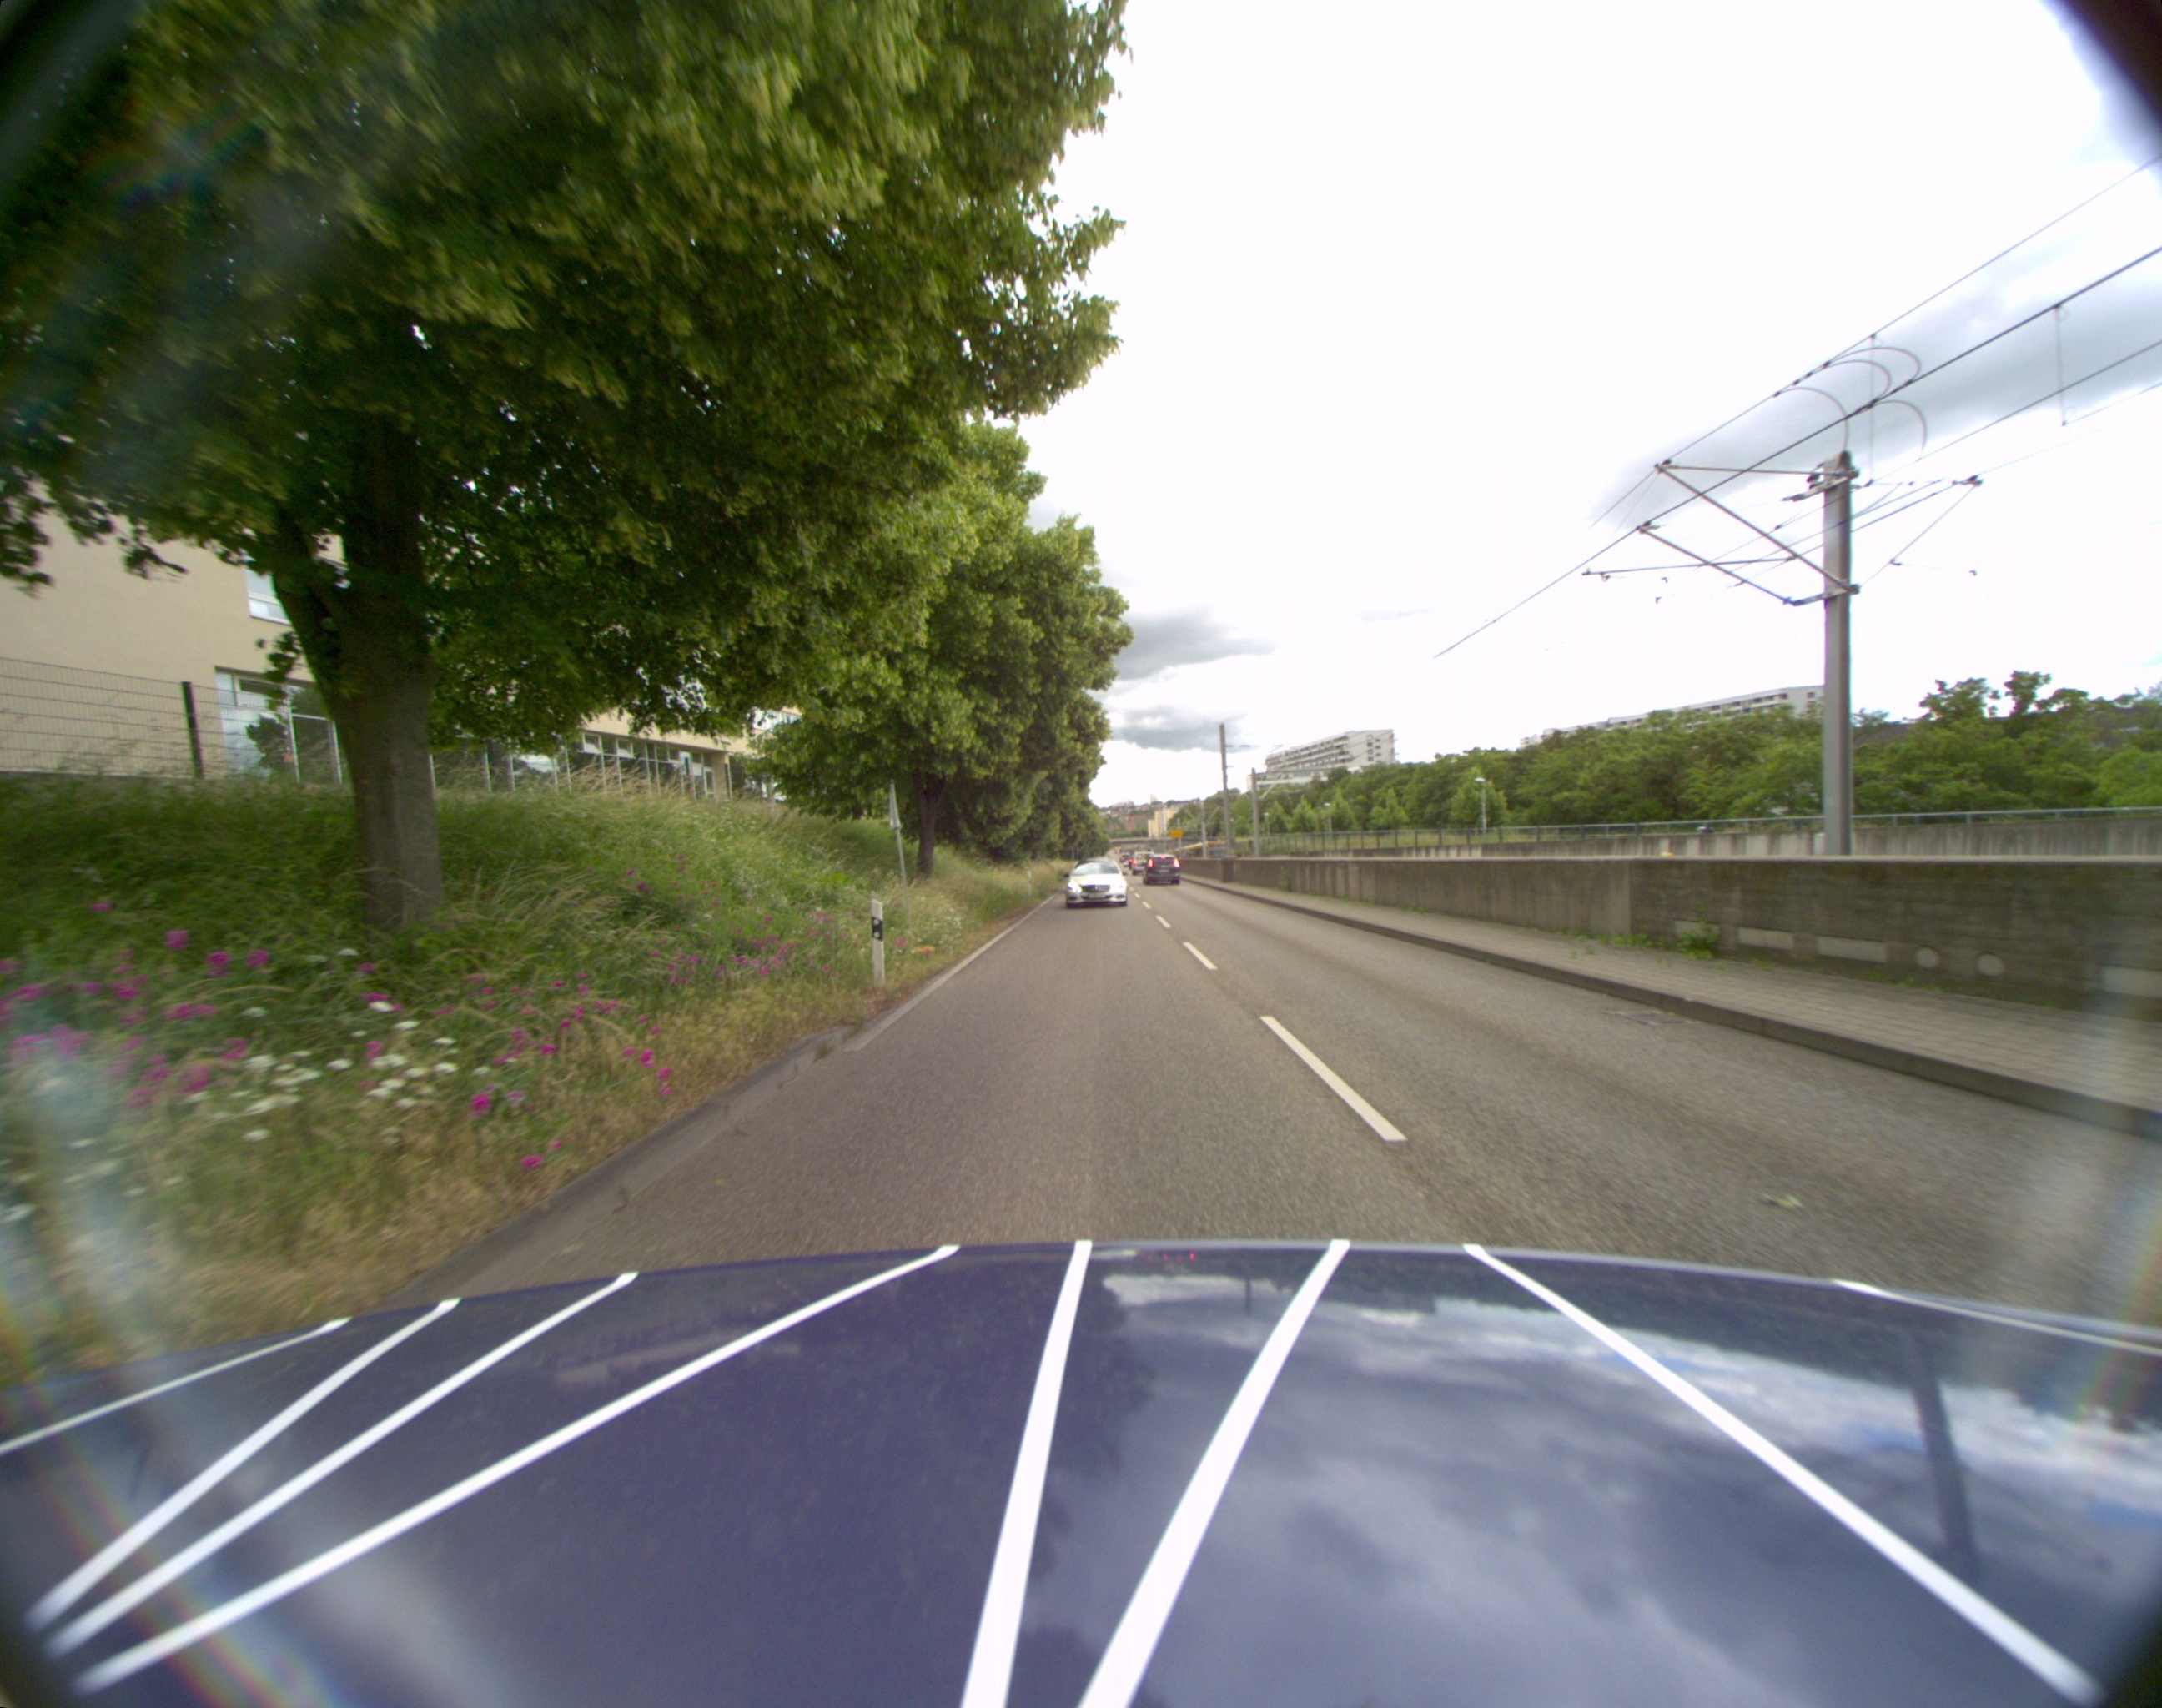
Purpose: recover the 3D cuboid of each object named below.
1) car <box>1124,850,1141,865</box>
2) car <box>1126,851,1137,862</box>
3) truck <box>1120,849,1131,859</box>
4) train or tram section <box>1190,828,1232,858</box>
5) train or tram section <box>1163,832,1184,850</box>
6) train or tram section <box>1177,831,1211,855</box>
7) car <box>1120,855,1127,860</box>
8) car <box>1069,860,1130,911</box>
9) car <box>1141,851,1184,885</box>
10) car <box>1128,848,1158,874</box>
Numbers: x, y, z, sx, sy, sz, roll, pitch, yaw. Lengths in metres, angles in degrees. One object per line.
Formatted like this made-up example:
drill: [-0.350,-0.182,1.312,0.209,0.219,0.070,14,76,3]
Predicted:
car: [6.108,0.424,90.330,1.781,1.677,4.066,-2,0,2]
car: [7.487,0.385,112.789,1.598,1.531,2.697,-1,0,3]
truck: [10.951,-0.084,187.647,2.455,2.412,8.212,-2,1,2]
train or tram section: [15.568,-1.362,92.536,2.787,3.175,18.475,-2,1,3]
train or tram section: [18.289,-2.512,151.103,2.717,3.172,17.567,-2,1,2]
train or tram section: [16.309,-1.576,111.032,2.787,3.175,18.474,-2,1,2]
car: [12.772,1.084,227.859,1.998,1.630,4.000,-1,0,2]
car: [0.640,0.948,24.359,1.739,1.366,4.000,-2,1,3]
car: [4.318,0.690,40.764,1.827,1.647,4.245,-2,0,1]
car: [5.093,0.529,62.779,1.901,1.823,4.905,-7,1,1]
